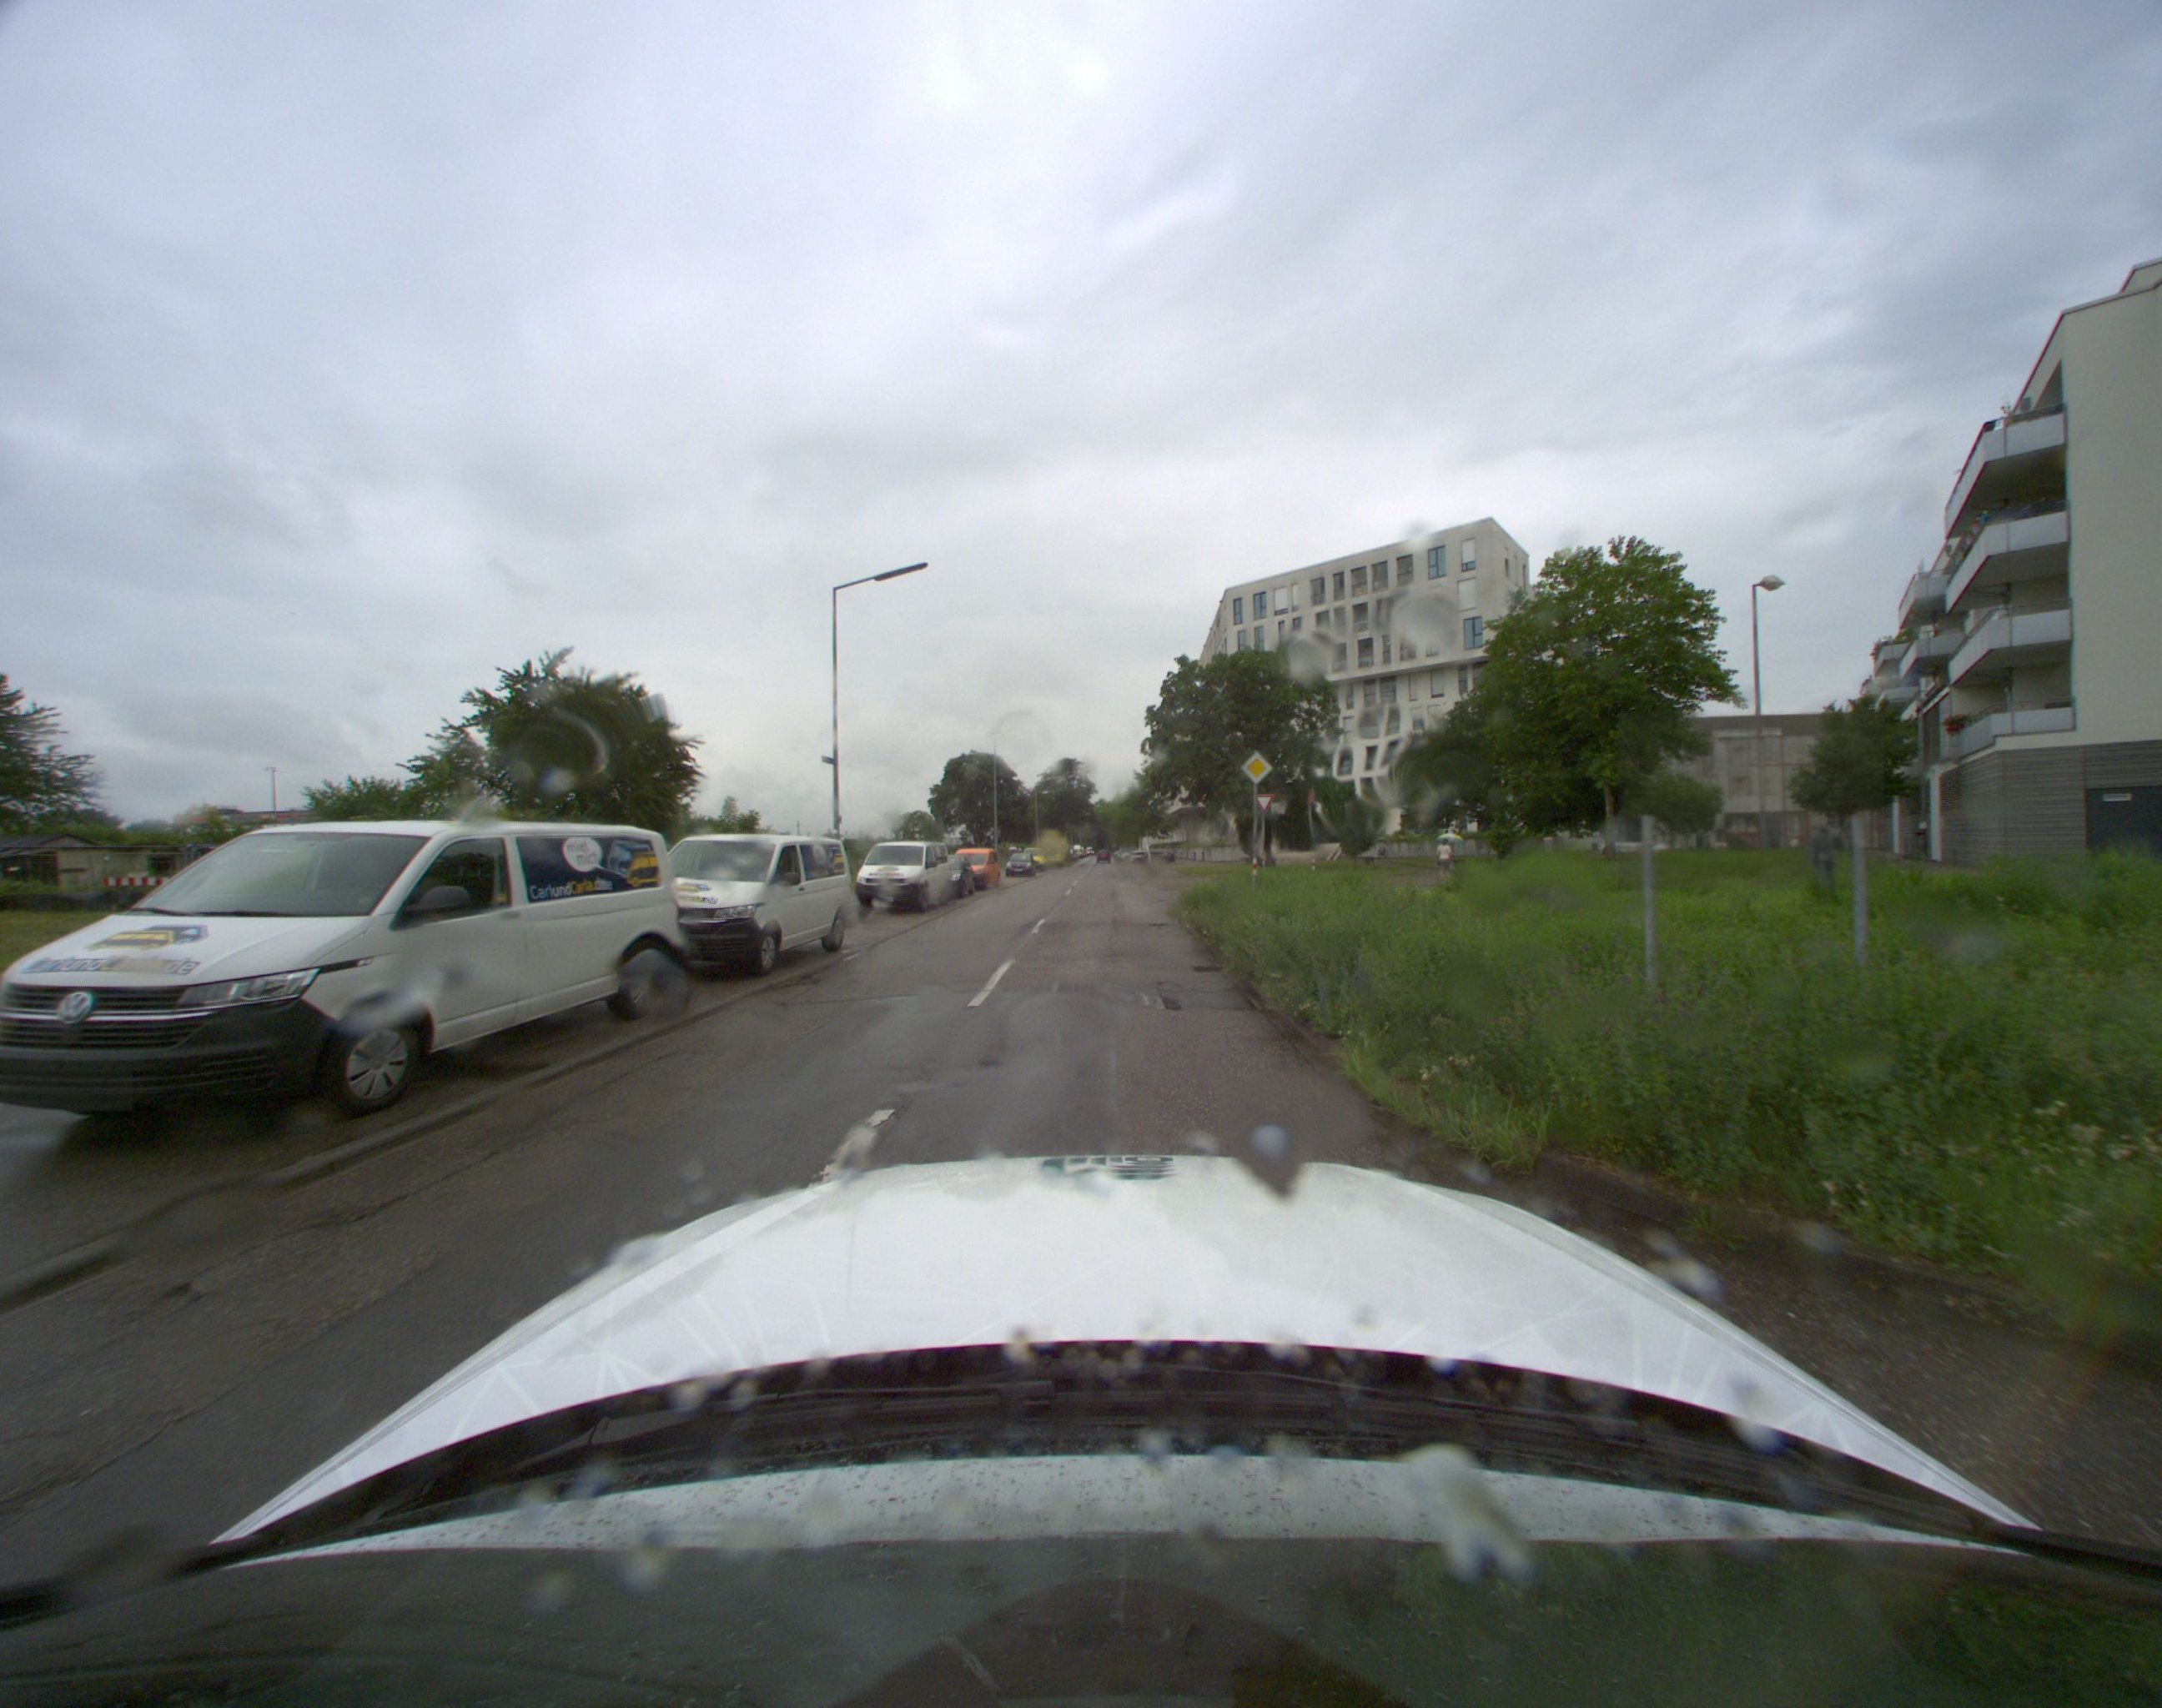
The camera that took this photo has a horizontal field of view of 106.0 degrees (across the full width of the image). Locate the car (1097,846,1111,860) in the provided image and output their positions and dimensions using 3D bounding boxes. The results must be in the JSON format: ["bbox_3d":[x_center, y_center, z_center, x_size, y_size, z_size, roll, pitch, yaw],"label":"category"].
[{"bbox_3d":[3.099,-0.209,108.802,1.749,1.705,4.003,-2,2,2],"label":"car"}]

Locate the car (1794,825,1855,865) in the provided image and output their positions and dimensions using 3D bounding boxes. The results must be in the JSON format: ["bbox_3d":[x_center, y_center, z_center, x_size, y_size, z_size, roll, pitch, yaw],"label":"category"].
[{"bbox_3d":[31.312,-0.407,34.390,1.712,1.548,4.147,-1,0,40],"label":"car"}]

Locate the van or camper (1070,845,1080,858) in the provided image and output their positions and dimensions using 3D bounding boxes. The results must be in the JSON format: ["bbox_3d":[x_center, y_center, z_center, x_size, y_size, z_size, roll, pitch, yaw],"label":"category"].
[{"bbox_3d":[-1.253,-0.611,176.901,1.986,2.762,7.902,0,0,2],"label":"van or camper"}]

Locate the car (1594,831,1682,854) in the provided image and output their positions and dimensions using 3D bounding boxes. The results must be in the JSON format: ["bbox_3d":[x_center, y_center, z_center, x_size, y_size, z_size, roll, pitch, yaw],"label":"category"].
[{"bbox_3d":[37.844,-0.801,55.383,4.775,1.507,1.635,1,2,42],"label":"car"}]

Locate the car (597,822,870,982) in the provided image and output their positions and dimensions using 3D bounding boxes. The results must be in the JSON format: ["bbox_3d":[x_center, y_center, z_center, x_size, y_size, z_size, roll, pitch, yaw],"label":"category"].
[{"bbox_3d":[-5.170,0.598,13.136,1.952,2.058,5.277,0,0,2],"label":"car"}]

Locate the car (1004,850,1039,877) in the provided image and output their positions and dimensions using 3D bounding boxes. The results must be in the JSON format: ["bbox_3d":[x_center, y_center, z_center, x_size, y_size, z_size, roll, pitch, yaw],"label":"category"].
[{"bbox_3d":[-3.804,0.581,52.872,1.797,1.561,4.035,1,1,2],"label":"car"}]

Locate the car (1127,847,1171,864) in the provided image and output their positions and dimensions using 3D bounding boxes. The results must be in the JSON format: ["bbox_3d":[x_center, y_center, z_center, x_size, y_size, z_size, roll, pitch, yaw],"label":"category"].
[{"bbox_3d":[7.070,0.173,84.917,4.472,1.481,1.692,-4,0,1],"label":"car"}]

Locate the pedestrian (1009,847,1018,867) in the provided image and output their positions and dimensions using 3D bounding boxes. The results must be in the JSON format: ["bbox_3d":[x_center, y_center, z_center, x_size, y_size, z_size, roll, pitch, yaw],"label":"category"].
[{"bbox_3d":[-6.673,0.296,80.312,0.739,2.013,0.981,0,0,2],"label":"pedestrian"}]

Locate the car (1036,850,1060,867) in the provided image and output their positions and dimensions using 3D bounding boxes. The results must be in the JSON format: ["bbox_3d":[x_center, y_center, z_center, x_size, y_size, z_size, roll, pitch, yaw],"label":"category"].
[{"bbox_3d":[-3.117,0.435,77.948,1.987,1.594,5.017,1,0,1],"label":"car"}]

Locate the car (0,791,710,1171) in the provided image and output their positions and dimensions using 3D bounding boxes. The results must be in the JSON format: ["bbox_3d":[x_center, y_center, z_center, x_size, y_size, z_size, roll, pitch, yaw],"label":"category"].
[{"bbox_3d":[-5.451,0.670,7.003,1.887,2.013,5.260,-1,0,2],"label":"car"}]

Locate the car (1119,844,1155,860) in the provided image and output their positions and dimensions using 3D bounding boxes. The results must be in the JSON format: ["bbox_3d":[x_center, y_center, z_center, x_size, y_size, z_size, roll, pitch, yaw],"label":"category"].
[{"bbox_3d":[7.417,-0.274,107.805,4.527,1.685,1.885,-6,0,-2],"label":"car"}]

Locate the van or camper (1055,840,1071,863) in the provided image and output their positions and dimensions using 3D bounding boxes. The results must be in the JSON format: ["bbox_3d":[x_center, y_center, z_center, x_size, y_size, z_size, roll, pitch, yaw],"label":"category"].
[{"bbox_3d":[-2.490,-0.331,114.030,2.087,3.094,6.424,1,0,0],"label":"van or camper"}]

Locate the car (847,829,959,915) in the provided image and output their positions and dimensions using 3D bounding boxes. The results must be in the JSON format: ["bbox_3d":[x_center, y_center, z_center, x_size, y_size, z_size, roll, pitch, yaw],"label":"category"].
[{"bbox_3d":[-5.145,0.441,24.381,1.935,2.236,5.559,-1,1,1],"label":"car"}]

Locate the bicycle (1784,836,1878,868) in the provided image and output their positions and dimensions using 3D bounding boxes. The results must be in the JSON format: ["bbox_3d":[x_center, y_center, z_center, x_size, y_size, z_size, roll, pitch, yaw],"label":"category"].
[{"bbox_3d":[26.981,-0.060,29.354,2.453,1.087,0.730,-1,1,43],"label":"bicycle"}]

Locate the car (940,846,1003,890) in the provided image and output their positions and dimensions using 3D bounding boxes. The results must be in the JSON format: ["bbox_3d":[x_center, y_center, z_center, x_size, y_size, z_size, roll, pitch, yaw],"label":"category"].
[{"bbox_3d":[-4.728,0.557,35.822,1.932,1.767,4.335,-1,0,3],"label":"car"}]

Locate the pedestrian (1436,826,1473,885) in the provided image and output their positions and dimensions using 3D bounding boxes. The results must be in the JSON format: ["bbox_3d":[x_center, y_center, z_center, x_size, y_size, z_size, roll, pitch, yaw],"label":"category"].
[{"bbox_3d":[12.954,0.055,28.271,0.962,2.013,0.623,-2,0,1],"label":"pedestrian"}]

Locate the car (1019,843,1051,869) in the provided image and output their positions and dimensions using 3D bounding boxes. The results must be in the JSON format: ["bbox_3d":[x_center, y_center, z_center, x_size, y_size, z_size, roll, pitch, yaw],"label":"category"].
[{"bbox_3d":[-3.645,0.131,65.653,2.010,1.956,6.067,0,0,1],"label":"car"}]

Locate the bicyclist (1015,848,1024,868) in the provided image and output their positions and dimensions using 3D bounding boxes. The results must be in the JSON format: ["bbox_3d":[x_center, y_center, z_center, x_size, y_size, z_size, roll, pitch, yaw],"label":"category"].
[{"bbox_3d":[-5.793,0.343,76.413,0.695,1.829,1.009,-1,0,2],"label":"bicyclist"}]

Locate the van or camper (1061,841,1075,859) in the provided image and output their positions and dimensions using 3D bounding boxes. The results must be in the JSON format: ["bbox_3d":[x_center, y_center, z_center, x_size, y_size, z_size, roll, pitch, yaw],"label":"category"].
[{"bbox_3d":[-2.035,-0.633,130.178,2.088,2.715,7.573,1,0,0],"label":"van or camper"}]

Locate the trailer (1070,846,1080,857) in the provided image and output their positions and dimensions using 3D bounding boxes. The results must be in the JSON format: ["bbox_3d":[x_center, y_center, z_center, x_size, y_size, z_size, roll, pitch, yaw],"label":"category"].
[{"bbox_3d":[-1.137,-0.537,164.294,2.052,2.218,5.794,0,0,0],"label":"trailer"}]

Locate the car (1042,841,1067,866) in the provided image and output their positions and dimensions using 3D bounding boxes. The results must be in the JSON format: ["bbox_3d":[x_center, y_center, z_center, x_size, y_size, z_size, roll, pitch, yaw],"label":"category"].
[{"bbox_3d":[-2.940,-0.056,90.236,2.182,2.694,6.086,1,0,3],"label":"car"}]

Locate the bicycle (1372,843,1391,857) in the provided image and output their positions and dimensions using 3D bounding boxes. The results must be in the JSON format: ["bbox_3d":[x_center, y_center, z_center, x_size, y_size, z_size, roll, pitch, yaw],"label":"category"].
[{"bbox_3d":[23.773,-0.348,64.388,0.716,1.033,2.086,-2,0,41],"label":"bicycle"}]

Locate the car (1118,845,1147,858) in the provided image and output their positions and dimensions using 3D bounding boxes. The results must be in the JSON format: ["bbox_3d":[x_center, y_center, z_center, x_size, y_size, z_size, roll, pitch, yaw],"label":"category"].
[{"bbox_3d":[8.172,-0.395,129.518,4.462,1.686,1.935,-5,1,-1],"label":"car"}]

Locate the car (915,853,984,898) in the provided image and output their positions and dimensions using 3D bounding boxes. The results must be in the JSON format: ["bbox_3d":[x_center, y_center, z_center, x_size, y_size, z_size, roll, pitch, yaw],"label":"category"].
[{"bbox_3d":[-4.849,0.726,30.659,1.677,1.502,4.893,-1,0,1],"label":"car"}]
